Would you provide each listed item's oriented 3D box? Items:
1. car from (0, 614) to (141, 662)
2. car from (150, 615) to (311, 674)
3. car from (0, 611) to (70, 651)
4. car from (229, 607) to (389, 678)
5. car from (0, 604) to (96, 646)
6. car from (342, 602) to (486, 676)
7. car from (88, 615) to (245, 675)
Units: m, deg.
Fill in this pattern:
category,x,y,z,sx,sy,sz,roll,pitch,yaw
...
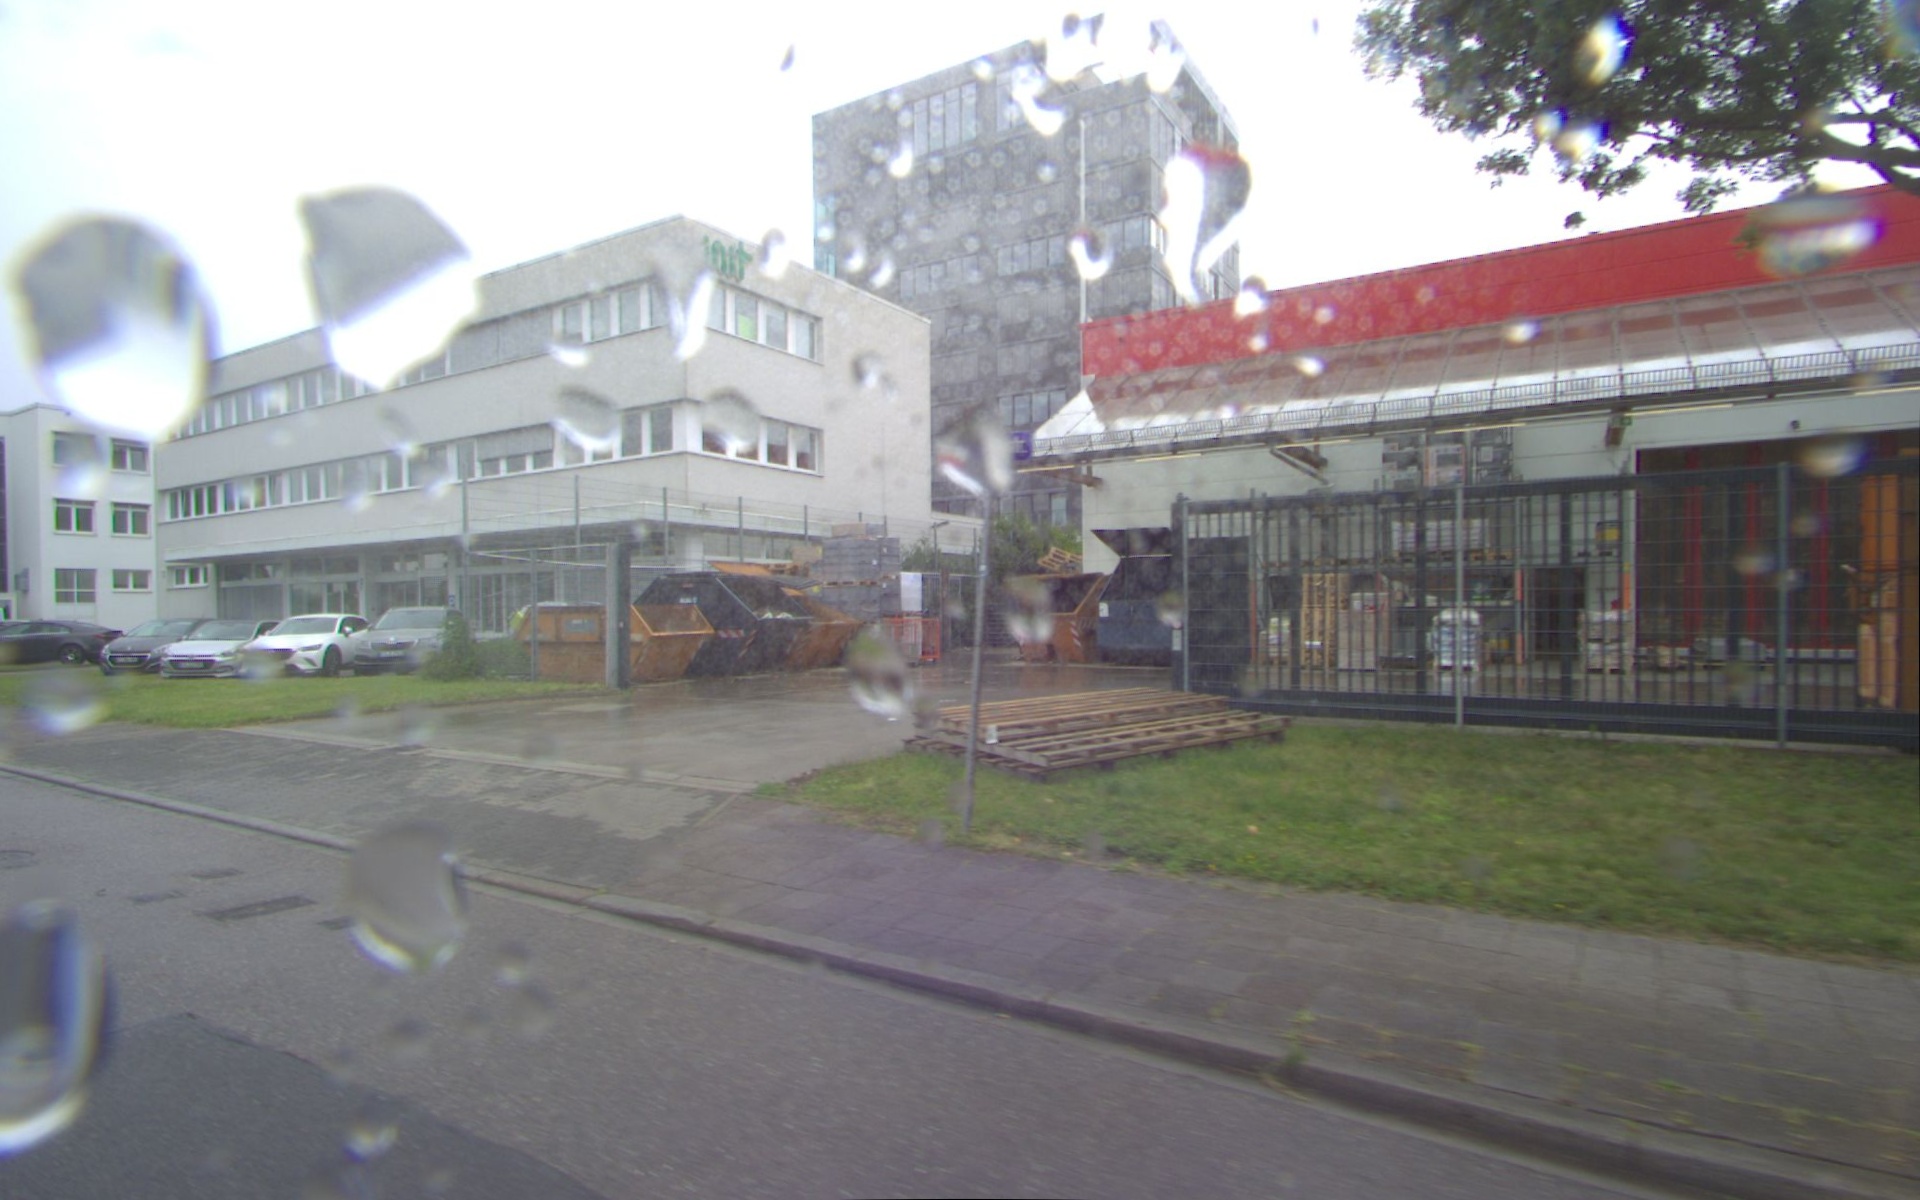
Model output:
category,x,y,z,sx,sy,sz,roll,pitch,yaw
car,-30.020,1.220,32.784,4.595,1.487,1.787,0,0,-19
car,-17.904,1.049,24.811,1.675,1.303,3.996,0,0,-11
car,-37.053,1.183,38.378,4.077,1.435,1.687,1,1,-17
car,-15.016,0.921,23.358,1.742,1.489,3.996,0,0,-11
car,-46.867,1.239,49.215,1.970,2.039,6.449,-1,-2,28
car,-12.512,0.835,23.230,1.838,1.547,3.996,0,0,-12
car,-20.621,1.113,26.213,1.675,1.411,3.765,0,0,-11
